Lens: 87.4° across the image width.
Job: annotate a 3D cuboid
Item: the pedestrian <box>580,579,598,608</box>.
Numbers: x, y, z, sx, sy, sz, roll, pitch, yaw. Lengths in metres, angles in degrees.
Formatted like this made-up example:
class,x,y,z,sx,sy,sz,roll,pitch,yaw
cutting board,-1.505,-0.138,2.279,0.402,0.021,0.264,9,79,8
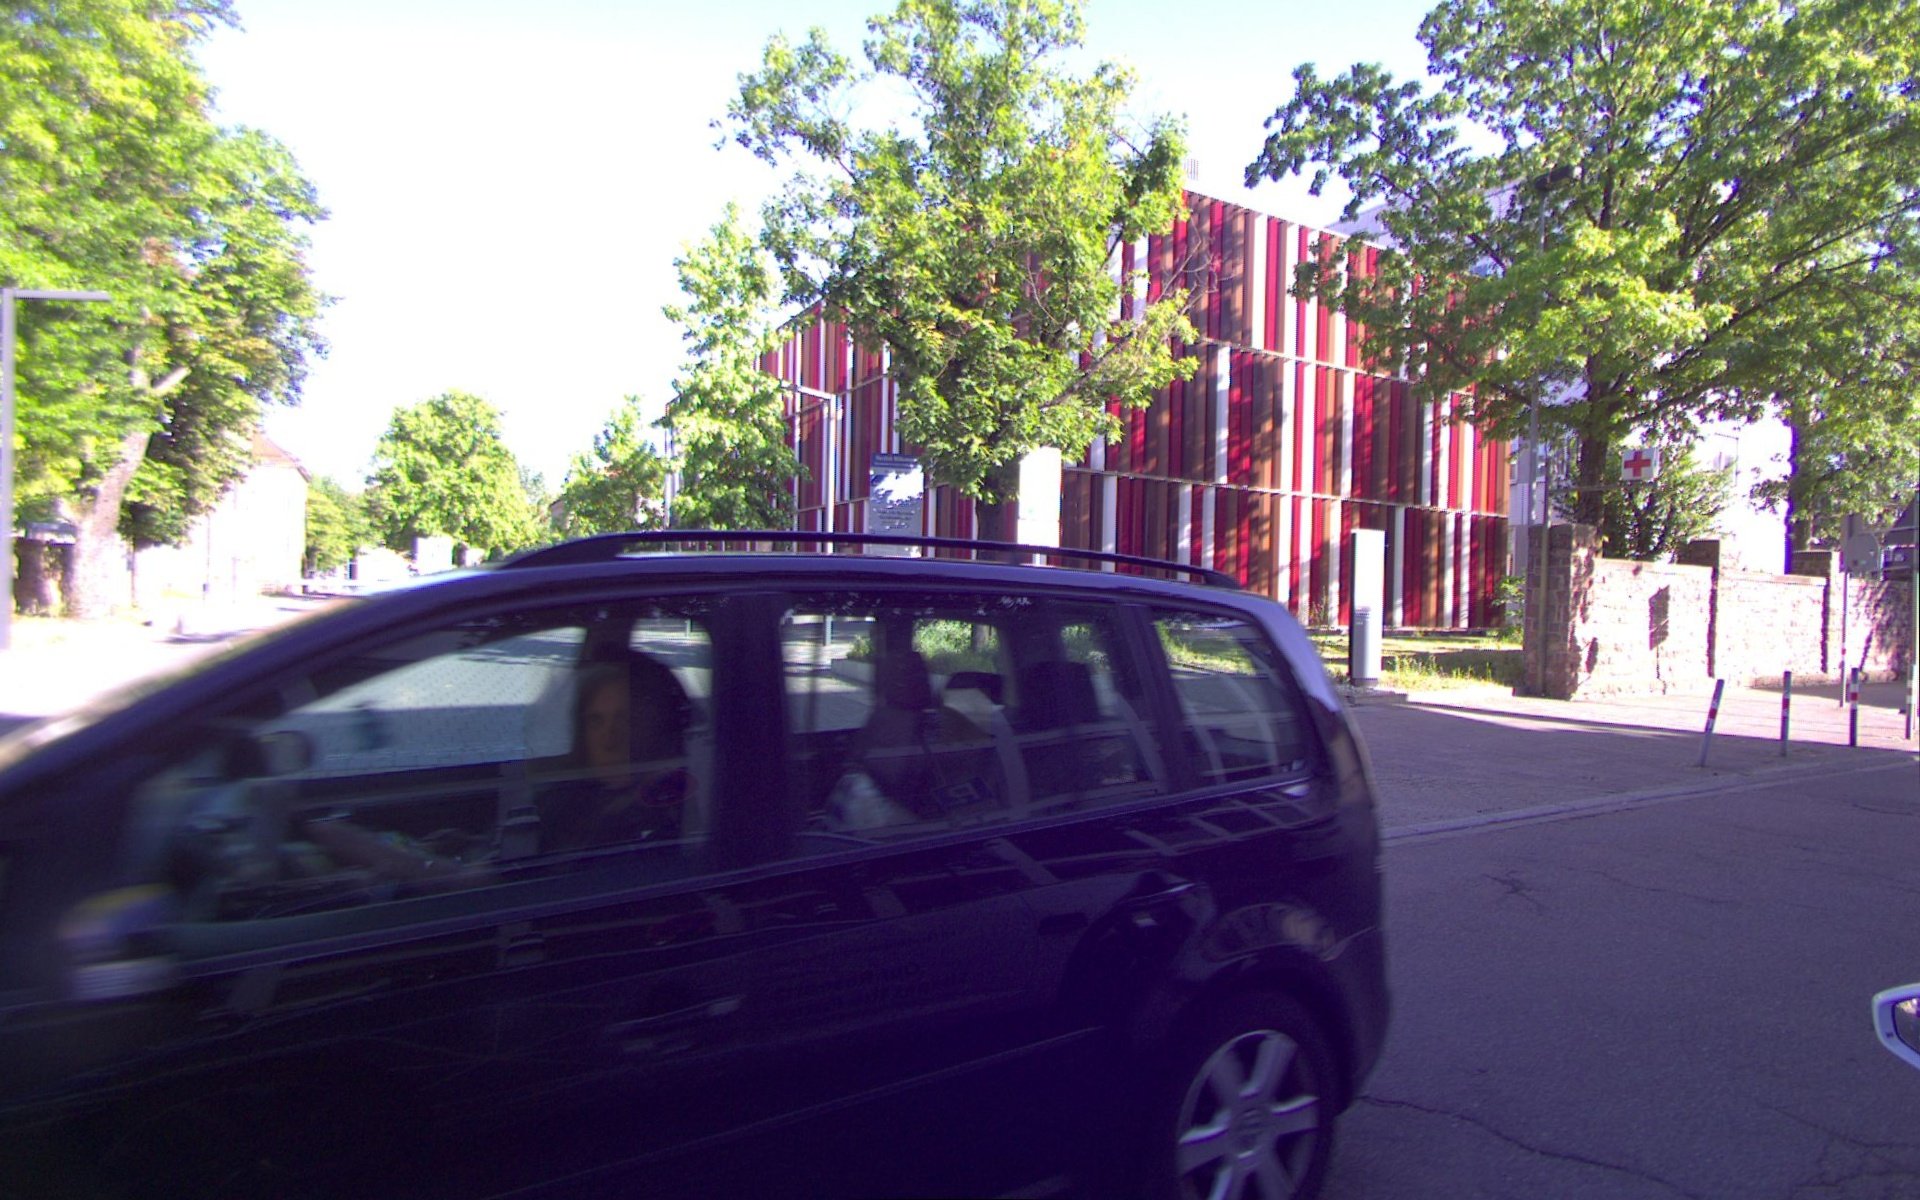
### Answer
class,x,y,z,sx,sy,sz,roll,pitch,yaw
pedestrian,-15.799,-0.271,42.751,0.604,1.192,0.566,1,2,-35

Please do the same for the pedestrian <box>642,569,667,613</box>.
class,x,y,z,sx,sy,sz,roll,pitch,yaw
pedestrian,-9.885,-0.277,32.507,0.605,1.398,0.565,1,2,-37

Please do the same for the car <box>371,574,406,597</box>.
class,x,y,z,sx,sy,sz,roll,pitch,yaw
car,-35.994,-0.897,63.343,1.714,1.341,3.050,1,1,-26

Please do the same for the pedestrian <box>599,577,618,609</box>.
class,x,y,z,sx,sy,sz,roll,pitch,yaw
pedestrian,-15.099,-0.302,43.137,0.604,1.336,0.566,1,2,-35

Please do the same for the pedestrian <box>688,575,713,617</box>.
class,x,y,z,sx,sy,sz,roll,pitch,yaw
pedestrian,-8.659,-0.120,33.532,0.605,1.371,0.565,1,2,-37

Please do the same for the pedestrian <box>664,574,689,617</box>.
class,x,y,z,sx,sy,sz,roll,pitch,yaw
pedestrian,-9.293,-0.157,32.965,0.605,1.371,0.565,1,2,-37

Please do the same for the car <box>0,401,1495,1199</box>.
class,x,y,z,sx,sy,sz,roll,pitch,yaw
car,-0.653,0.624,2.352,3.977,1.632,1.634,1,-1,-32
